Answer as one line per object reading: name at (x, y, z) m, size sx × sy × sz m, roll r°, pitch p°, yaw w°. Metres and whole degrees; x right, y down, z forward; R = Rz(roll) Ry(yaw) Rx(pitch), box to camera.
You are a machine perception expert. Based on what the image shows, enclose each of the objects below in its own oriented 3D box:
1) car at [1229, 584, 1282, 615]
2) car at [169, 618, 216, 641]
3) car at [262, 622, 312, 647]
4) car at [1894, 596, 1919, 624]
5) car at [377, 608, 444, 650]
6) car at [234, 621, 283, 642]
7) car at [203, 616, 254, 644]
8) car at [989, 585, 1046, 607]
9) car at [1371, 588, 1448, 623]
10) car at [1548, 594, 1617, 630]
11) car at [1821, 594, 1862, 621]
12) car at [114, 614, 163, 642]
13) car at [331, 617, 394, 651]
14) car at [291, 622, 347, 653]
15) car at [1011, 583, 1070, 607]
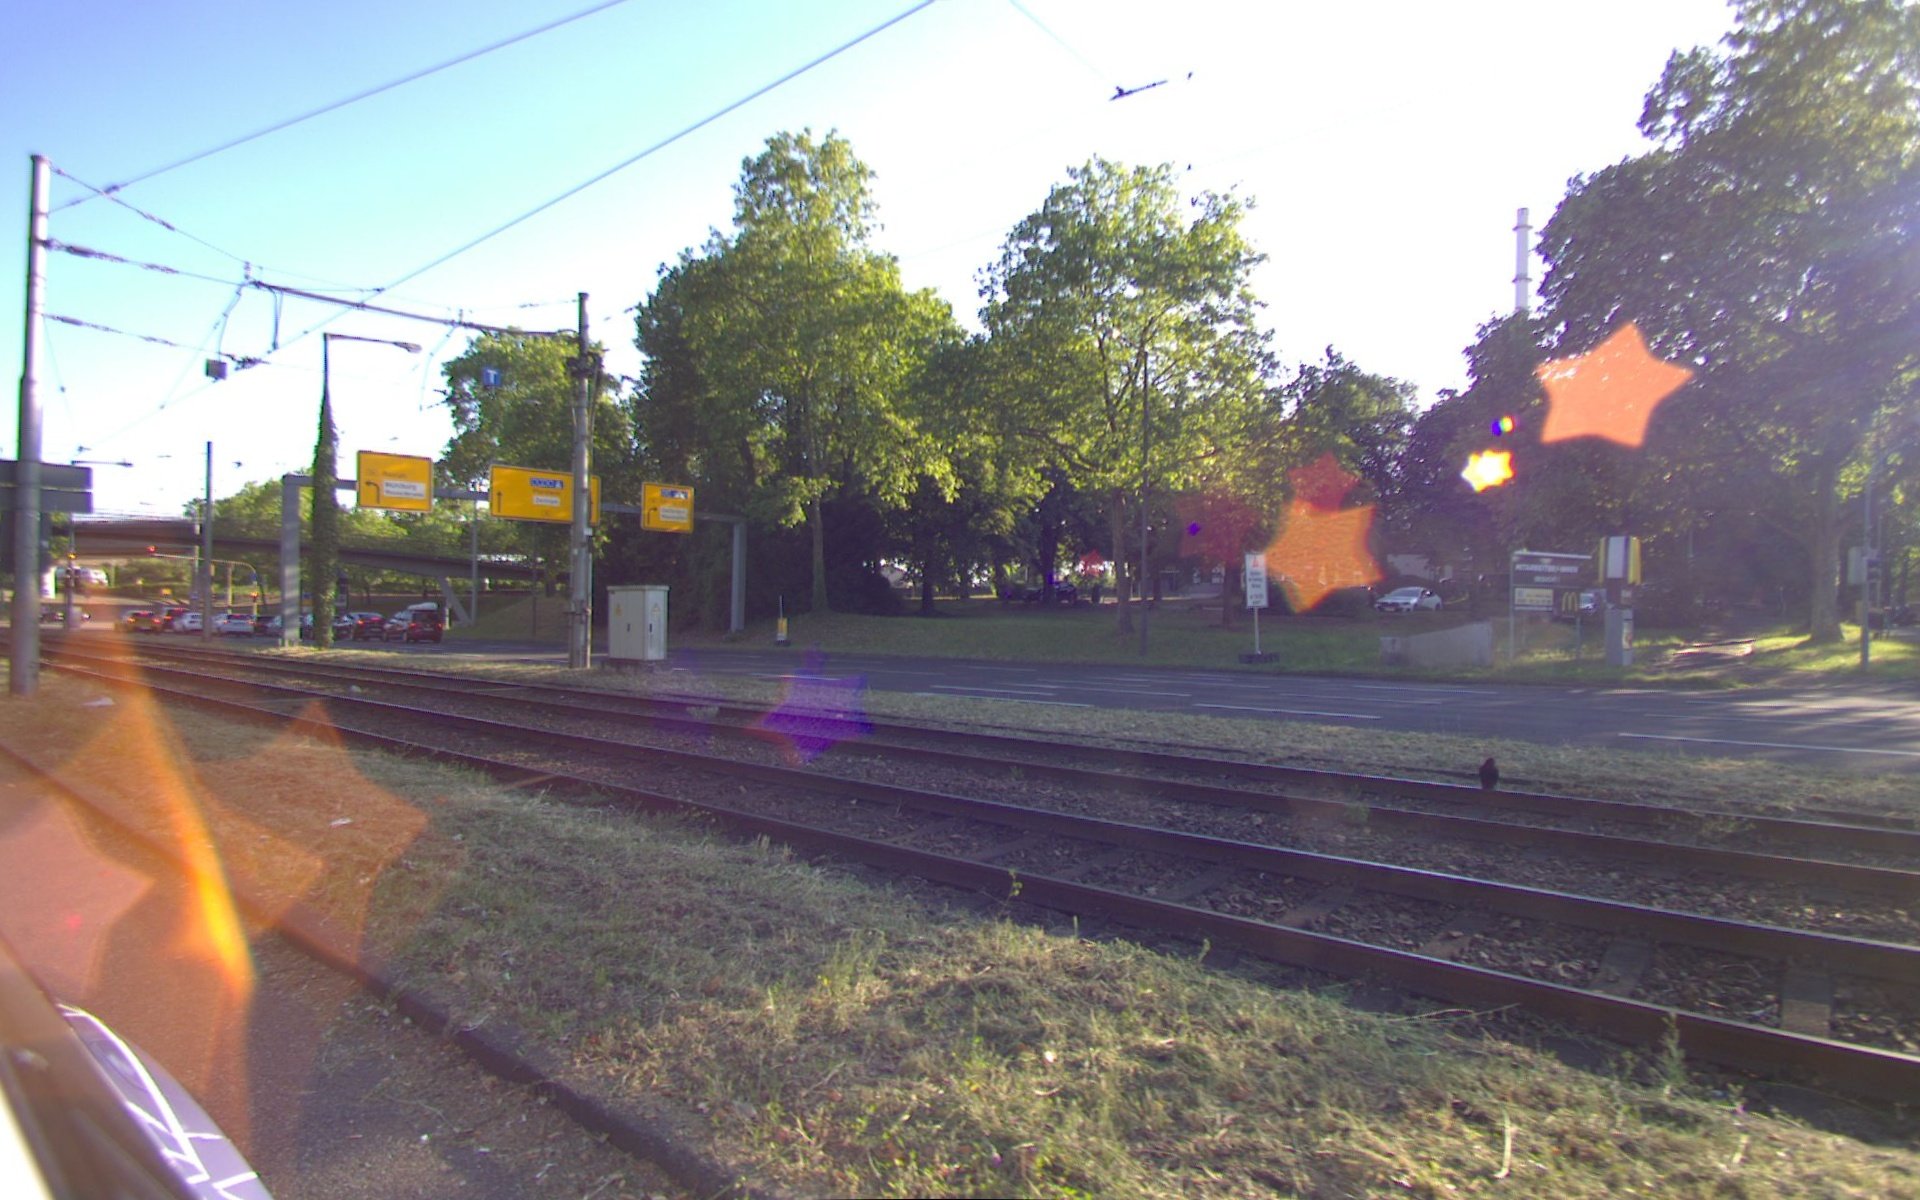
car at (16.648, -0.021, 56.870) m, size 1.822 × 1.700 × 4.179 m, roll -1°, pitch 0°, yaw 32°
car at (-50.476, 1.935, 66.533) m, size 4.411 × 1.443 × 1.723 m, roll 0°, pitch -3°, yaw 43°
car at (-44.344, 2.235, 66.651) m, size 3.998 × 1.492 × 1.774 m, roll 0°, pitch 0°, yaw 41°
car at (55.676, 0.584, 58.884) m, size 1.851 × 1.564 × 3.945 m, roll 0°, pitch 0°, yaw 42°
car at (-28.691, 1.467, 52.783) m, size 3.997 × 2.121 × 1.774 m, roll 0°, pitch 0°, yaw 41°
car at (-49.079, 2.187, 70.798) m, size 4.474 × 1.393 × 1.774 m, roll 0°, pitch 0°, yaw 41°
car at (-44.995, 1.821, 62.235) m, size 4.188 × 1.577 × 1.645 m, roll 0°, pitch 0°, yaw 41°
car at (4.236, -0.318, 74.369) m, size 3.933 × 1.564 × 1.812 m, roll 0°, pitch 0°, yaw -35°
car at (22.991, 0.261, 51.668) m, size 4.827 × 1.719 × 2.001 m, roll -1°, pitch 0°, yaw -45°
car at (28.719, 0.519, 46.620) m, size 2.042 × 1.586 × 4.342 m, roll -1°, pitch 0°, yaw 40°
car at (53.780, 0.446, 61.742) m, size 1.851 × 1.564 × 3.945 m, roll 0°, pitch 0°, yaw 42°
car at (-49.823, 1.693, 61.351) m, size 3.998 × 1.577 × 1.645 m, roll 0°, pitch 0°, yaw 41°
car at (-33.614, 1.891, 56.895) m, size 4.239 × 1.763 × 1.774 m, roll 0°, pitch 0°, yaw 41°
car at (-38.759, 2.231, 61.159) m, size 3.998 × 1.763 × 1.774 m, roll 0°, pitch 0°, yaw 41°
car at (5.379, -0.334, 67.377) m, size 3.940 × 1.564 × 1.809 m, roll 0°, pitch 0°, yaw -44°
